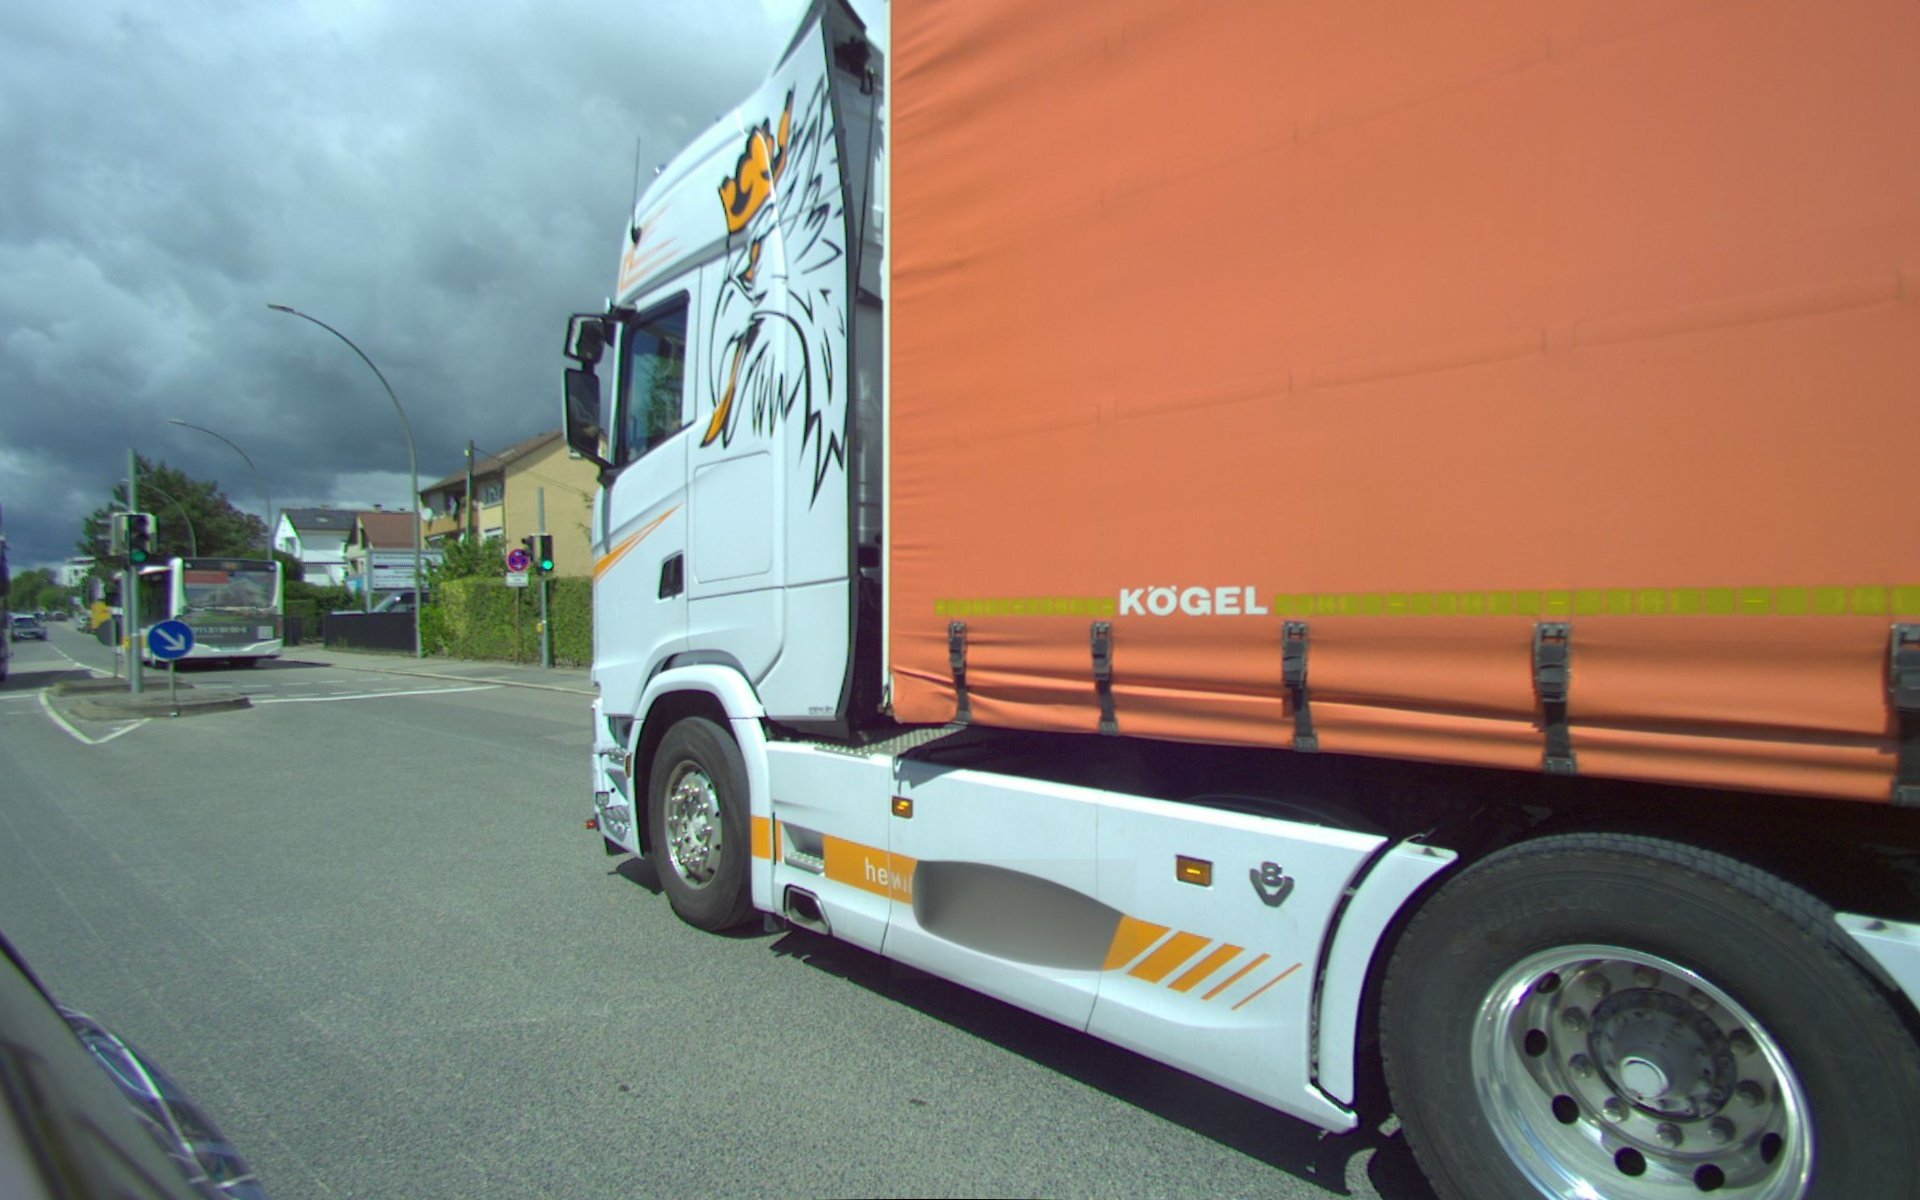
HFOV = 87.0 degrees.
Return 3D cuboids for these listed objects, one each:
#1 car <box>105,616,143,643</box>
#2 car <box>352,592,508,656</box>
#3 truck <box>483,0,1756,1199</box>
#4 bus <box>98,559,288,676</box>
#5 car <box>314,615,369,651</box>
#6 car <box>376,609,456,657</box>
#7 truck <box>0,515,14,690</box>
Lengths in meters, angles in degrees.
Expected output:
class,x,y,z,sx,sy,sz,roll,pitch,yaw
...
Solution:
class,x,y,z,sx,sy,sz,roll,pitch,yaw
car,-57.150,1.994,69.160,1.705,1.693,4.003,-1,0,-44
car,-21.490,0.923,41.195,5.284,2.402,2.108,-1,0,-40
truck,0.330,-0.694,4.597,4.984,4.150,2.742,-1,0,41
bus,-24.126,0.543,31.447,12.266,3.054,2.689,-1,-1,43
car,-27.686,1.437,45.230,1.859,1.470,4.361,-2,0,-34
car,-20.064,1.169,37.279,1.787,1.633,3.626,-1,0,-42
truck,-23.777,0.068,23.298,2.626,3.840,9.828,-1,0,-42
